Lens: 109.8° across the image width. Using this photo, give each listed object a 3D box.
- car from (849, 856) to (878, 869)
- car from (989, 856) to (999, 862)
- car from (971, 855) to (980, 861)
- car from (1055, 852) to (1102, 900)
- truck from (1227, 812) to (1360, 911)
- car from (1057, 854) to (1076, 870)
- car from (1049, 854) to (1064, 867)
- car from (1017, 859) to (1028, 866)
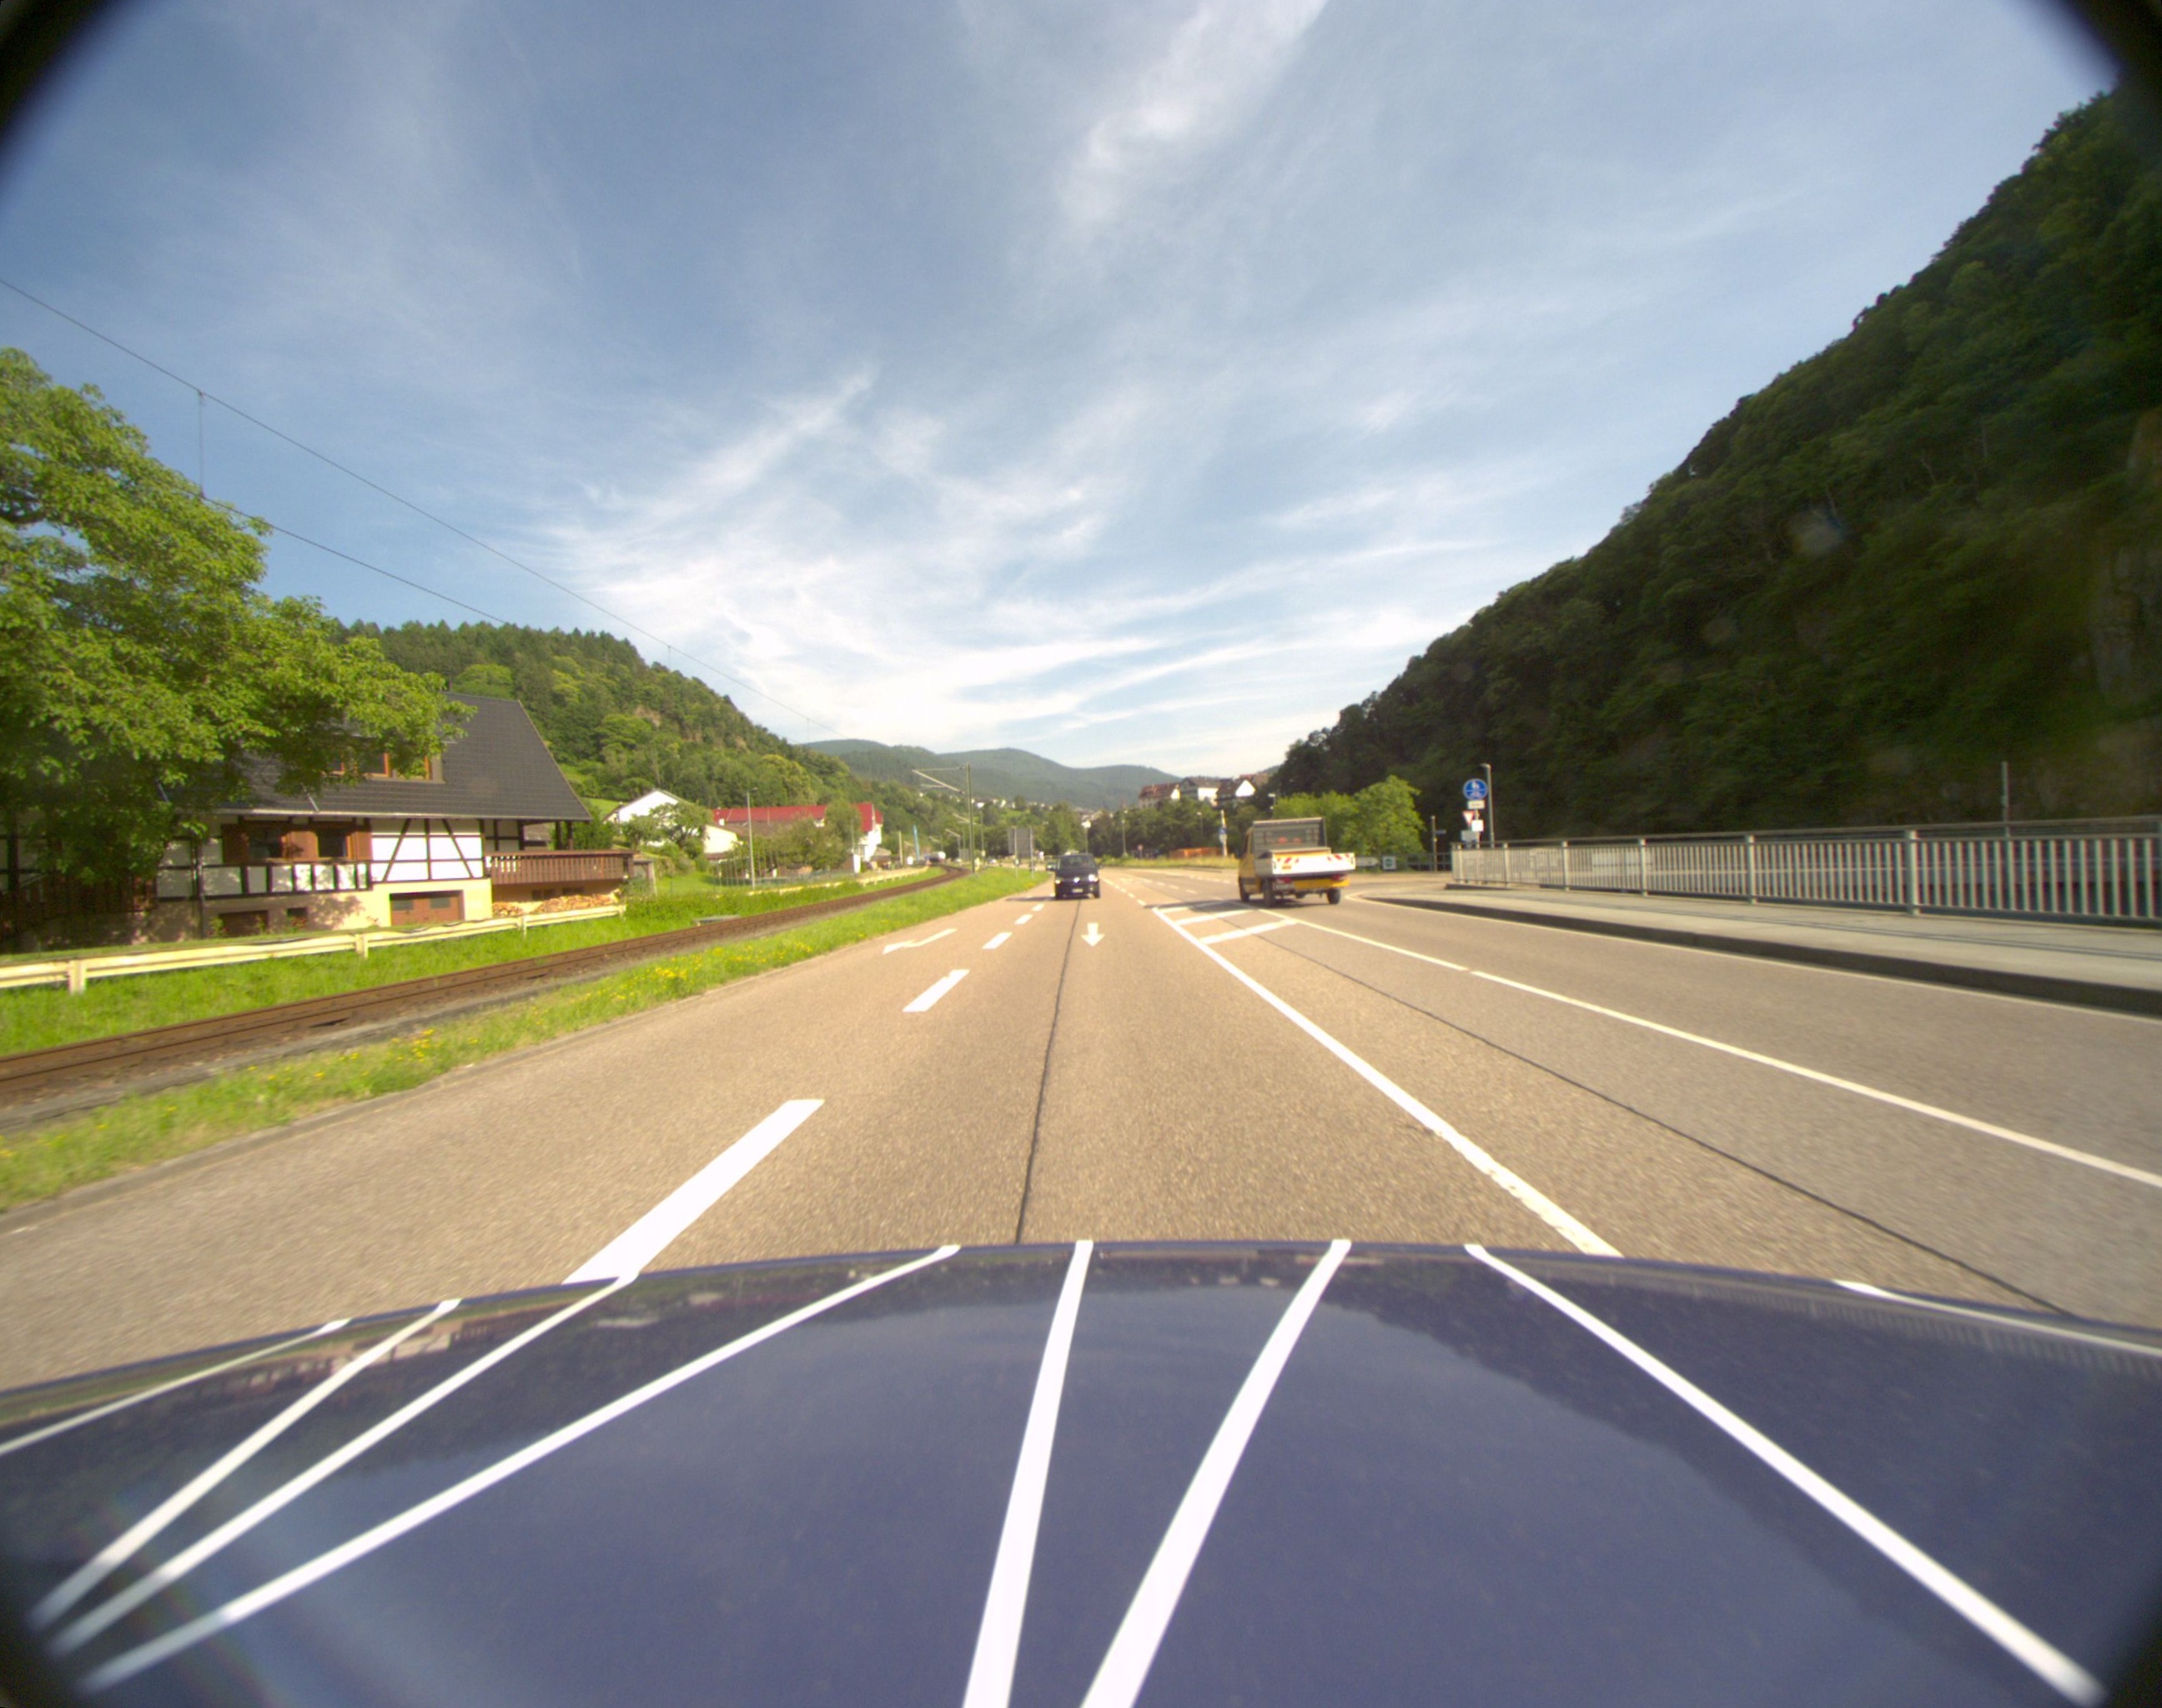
[{"bbox_3d":[-34.586,1.391,120.738,3.998,1.761,1.830,-3,0,-5],"label":"car"},{"bbox_3d":[-25.188,1.550,220.119,1.871,1.652,3.994,-4,0,-20],"label":"car"},{"bbox_3d":[-33.340,1.382,240.339,2.002,1.652,3.993,-4,0,-21],"label":"car"},{"bbox_3d":[-0.073,0.886,33.390,1.865,1.936,4.638,-1,0,0],"label":"car"},{"bbox_3d":[5.936,0.177,22.156,2.169,2.373,5.854,-3,0,0],"label":"truck"},{"bbox_3d":[-1.910,1.030,99.732,2.000,2.002,3.997,-2,0,-8],"label":"car"},{"bbox_3d":[-3.923,1.021,121.022,1.729,1.815,3.850,-3,0,-10],"label":"car"},{"bbox_3d":[-14.600,2.113,189.049,2.001,1.652,3.995,-4,0,-16],"label":"car"}]
